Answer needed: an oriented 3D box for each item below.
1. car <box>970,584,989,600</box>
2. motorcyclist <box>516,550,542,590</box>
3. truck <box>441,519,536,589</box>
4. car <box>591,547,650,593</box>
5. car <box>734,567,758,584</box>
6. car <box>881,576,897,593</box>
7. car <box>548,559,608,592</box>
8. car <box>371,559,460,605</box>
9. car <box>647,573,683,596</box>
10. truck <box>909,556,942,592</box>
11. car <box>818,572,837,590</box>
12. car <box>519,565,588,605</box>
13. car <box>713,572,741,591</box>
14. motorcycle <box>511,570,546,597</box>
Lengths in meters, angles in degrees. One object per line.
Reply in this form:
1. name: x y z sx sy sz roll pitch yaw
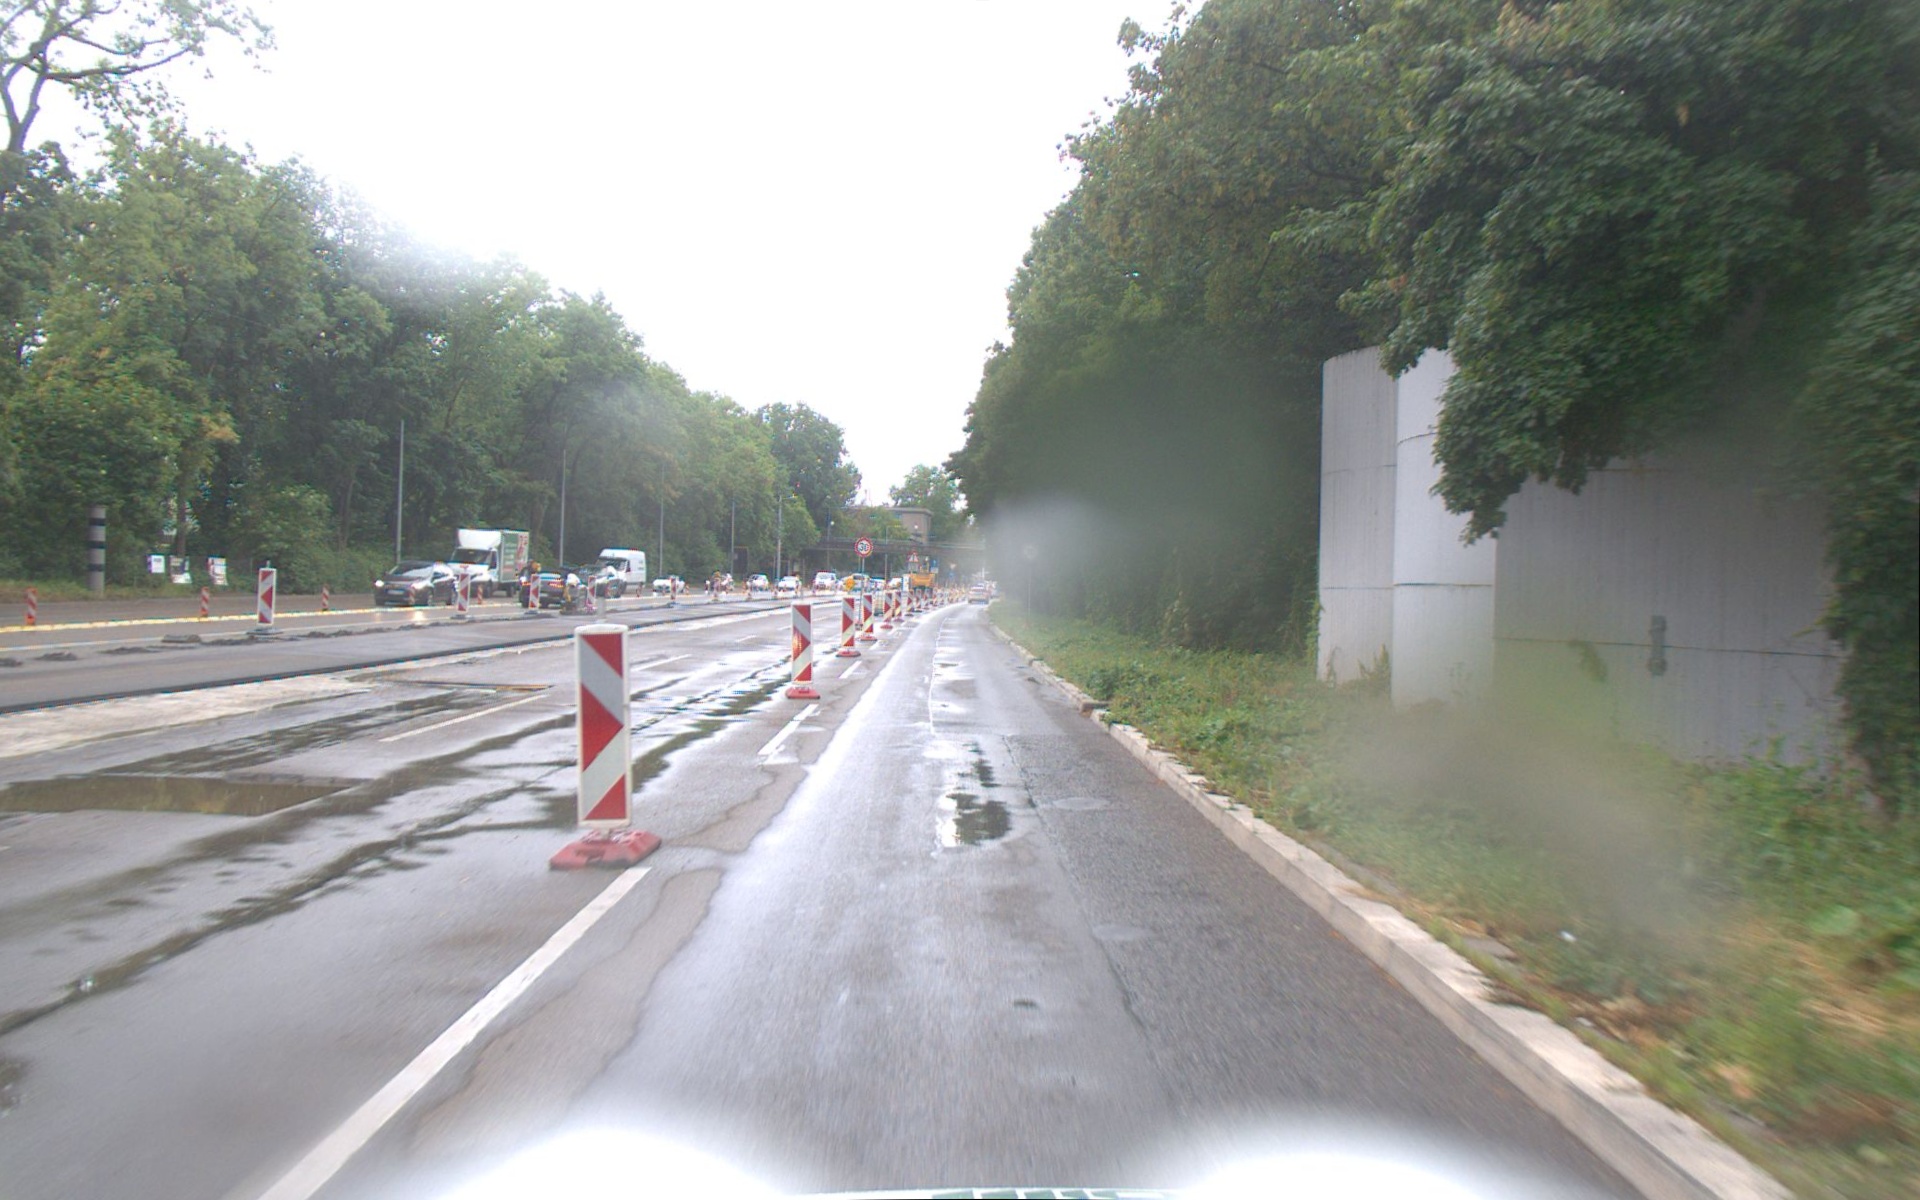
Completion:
1. car: 1.722 -0.697 148.534 1.663 1.359 3.491 -1 1 0
2. motorcyclist: -17.897 -1.245 68.661 0.811 1.592 0.926 2 1 -1
3. truck: -21.167 -2.048 74.588 2.200 2.991 6.936 1 1 1
4. car: -20.468 -1.803 100.075 2.056 2.624 6.854 1 1 1
5. car: -19.977 -2.291 154.399 1.635 1.511 4.050 1 1 1
6. car: -8.430 -1.908 197.474 1.635 1.840 4.321 1 2 1
7. car: -19.069 -1.238 82.803 1.919 1.557 4.437 1 1 1
8. car: -18.233 -0.639 55.566 1.636 1.440 4.319 1 1 -1
9. car: -20.518 -1.066 115.197 1.635 1.511 4.321 1 1 1
10. truck: -3.581 -2.804 175.243 3.193 3.558 13.870 1 1 0
11. car: -13.913 -2.028 173.859 1.635 1.840 4.321 1 1 1
12. car: -15.285 -0.601 62.362 1.574 1.429 4.041 1 1 1
13. car: -19.373 -1.562 137.881 1.635 1.511 4.321 1 1 1
14. motorcycle: -17.923 -0.694 68.733 0.811 1.032 2.367 2 1 -1
